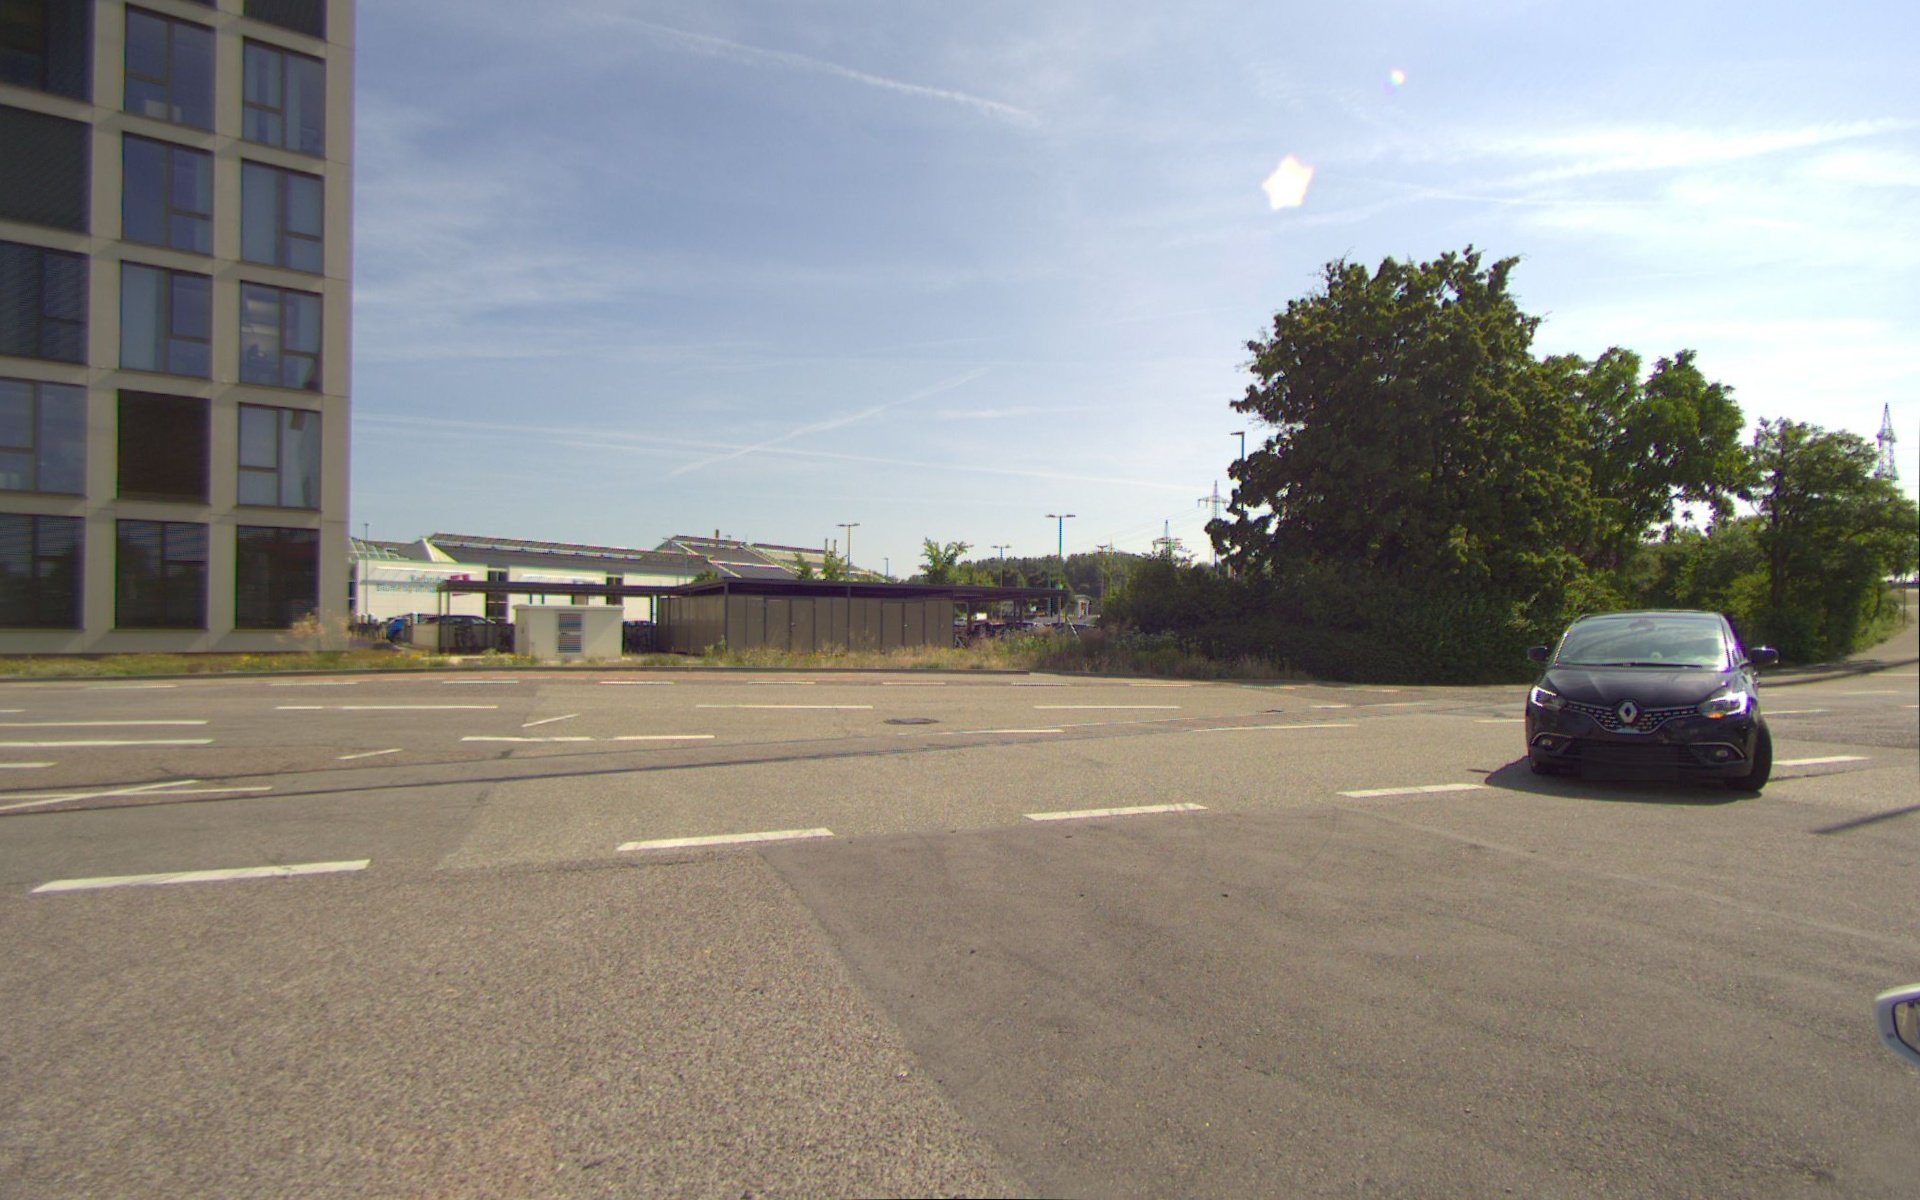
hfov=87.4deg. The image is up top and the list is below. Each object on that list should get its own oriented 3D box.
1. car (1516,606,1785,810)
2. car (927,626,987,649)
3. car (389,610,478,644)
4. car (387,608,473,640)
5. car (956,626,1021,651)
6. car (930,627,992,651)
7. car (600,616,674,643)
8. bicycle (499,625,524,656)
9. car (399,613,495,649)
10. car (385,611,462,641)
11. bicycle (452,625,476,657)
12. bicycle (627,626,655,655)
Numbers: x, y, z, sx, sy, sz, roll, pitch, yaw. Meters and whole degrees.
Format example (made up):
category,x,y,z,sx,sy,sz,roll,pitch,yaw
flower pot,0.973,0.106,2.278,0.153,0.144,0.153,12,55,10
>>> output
category,x,y,z,sx,sy,sz,roll,pitch,yaw
car,7.105,0.909,10.304,1.891,1.627,4.256,0,-1,37
car,-0.136,1.896,50.788,2.780,1.117,1.311,1,-1,-32
car,-27.743,1.414,52.923,3.959,1.727,1.930,1,-1,-35
car,-29.234,1.321,55.431,3.959,1.727,1.930,1,-1,-35
car,1.328,1.769,46.618,2.796,1.128,1.251,1,-1,-29
car,0.052,1.876,48.630,2.780,1.117,1.311,1,-1,-32
car,-20.058,1.817,62.412,4.002,1.641,1.888,1,-1,-35
bicycle,-16.580,1.495,37.097,0.582,1.106,1.693,1,-1,-33
car,-25.032,1.502,49.038,3.959,1.727,1.930,1,-1,-35
car,-32.617,1.572,61.120,3.959,1.727,1.930,1,-1,-35
bicycle,-17.802,1.465,36.033,0.582,1.106,1.693,1,-1,-33
bicycle,-12.595,1.576,39.630,0.582,1.106,1.693,1,-1,-33
